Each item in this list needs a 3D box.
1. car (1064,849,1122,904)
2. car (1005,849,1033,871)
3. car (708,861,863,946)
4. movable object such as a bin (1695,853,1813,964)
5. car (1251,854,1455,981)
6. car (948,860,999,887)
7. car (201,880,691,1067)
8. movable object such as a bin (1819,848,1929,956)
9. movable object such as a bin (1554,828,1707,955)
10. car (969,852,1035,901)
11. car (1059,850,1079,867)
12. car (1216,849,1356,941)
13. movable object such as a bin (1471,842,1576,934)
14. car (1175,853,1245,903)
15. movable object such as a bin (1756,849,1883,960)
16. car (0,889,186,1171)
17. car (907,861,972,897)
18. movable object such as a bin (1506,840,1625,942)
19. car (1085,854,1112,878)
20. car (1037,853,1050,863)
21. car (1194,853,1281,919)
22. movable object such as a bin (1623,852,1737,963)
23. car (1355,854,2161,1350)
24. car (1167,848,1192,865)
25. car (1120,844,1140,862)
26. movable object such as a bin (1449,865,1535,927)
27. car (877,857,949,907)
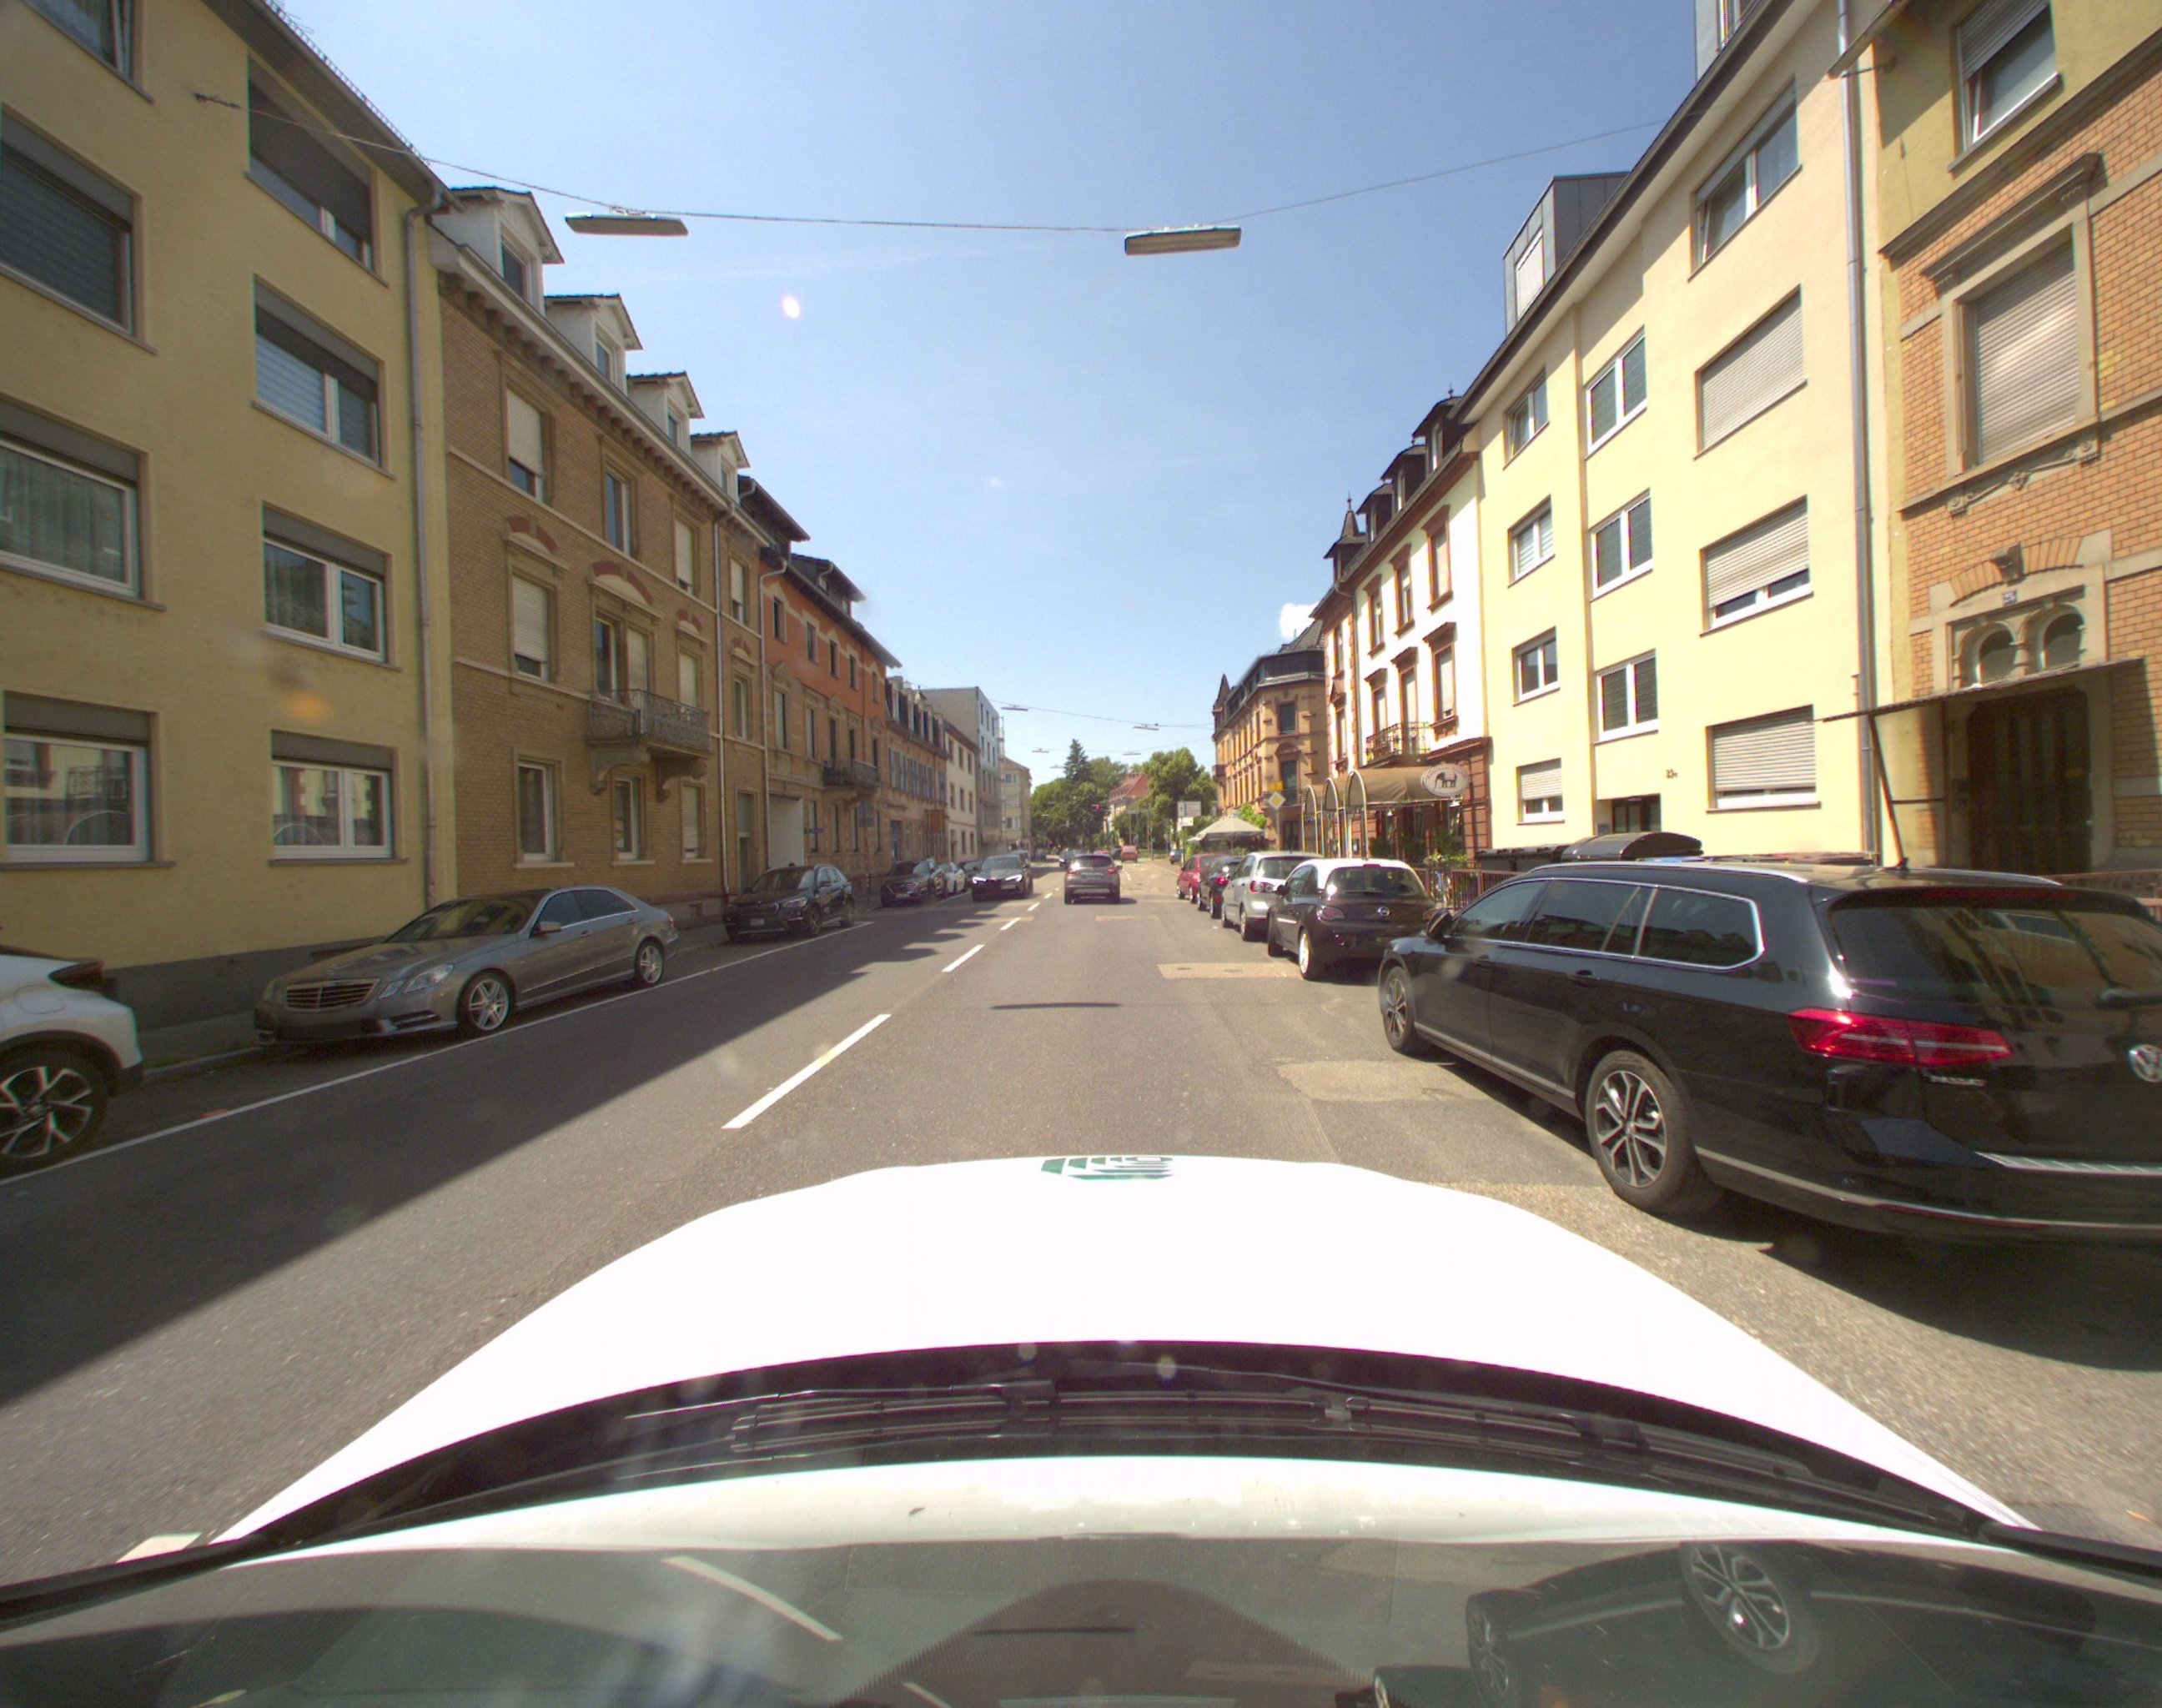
[{"bbox_3d":[0.401,0.675,26.640,1.738,1.616,4.001,-1,0,1],"label":"car"},{"bbox_3d":[-5.333,0.487,70.601,1.897,1.821,4.305,-2,0,2],"label":"car"},{"bbox_3d":[-6.685,1.037,18.977,1.898,1.619,4.302,-4,0,0],"label":"car"},{"bbox_3d":[7.518,0.584,9.134,0.635,1.186,0.853,-1,0,4],"label":"movable object such as a bin"},{"bbox_3d":[3.562,0.737,11.418,1.653,1.441,4.002,0,0,2],"label":"car"},{"bbox_3d":[-5.762,1.004,44.296,1.896,1.291,4.307,-2,0,4],"label":"car"},{"bbox_3d":[-6.786,1.139,9.614,1.898,1.401,4.756,-4,0,1],"label":"car"},{"bbox_3d":[8.933,0.525,9.196,0.635,1.177,0.627,-1,0,4],"label":"movable object such as a bin"},{"bbox_3d":[7.011,0.456,10.499,1.038,1.518,1.448,-1,0,3],"label":"movable object such as a bin"},{"bbox_3d":[-2.903,0.781,30.751,1.932,1.626,4.001,-3,0,1],"label":"car"},{"bbox_3d":[-1.182,0.448,81.809,1.783,1.626,3.745,-2,0,2],"label":"car"},{"bbox_3d":[3.775,0.689,15.698,1.853,1.553,4.002,0,0,2],"label":"car"},{"bbox_3d":[7.092,0.526,13.128,1.038,1.402,1.255,-1,0,3],"label":"movable object such as a bin"},{"bbox_3d":[4.038,0.719,26.037,1.607,1.443,3.435,-1,0,-1],"label":"car"},{"bbox_3d":[8.228,0.540,9.112,0.665,1.177,0.853,-1,0,4],"label":"movable object such as a bin"},{"bbox_3d":[-6.953,1.044,3.240,1.898,1.510,4.303,-4,0,1],"label":"car"},{"bbox_3d":[-6.135,1.047,35.802,1.897,1.357,4.304,-4,0,2],"label":"car"},{"bbox_3d":[7.014,0.516,11.872,1.038,1.402,1.255,-1,0,3],"label":"movable object such as a bin"},{"bbox_3d":[1.267,0.862,60.549,1.807,1.620,4.440,-3,0,-1],"label":"car"},{"bbox_3d":[-6.066,0.666,131.630,1.783,1.626,3.746,-2,0,3],"label":"car"},{"bbox_3d":[3.809,0.731,20.329,1.605,1.461,3.507,-1,0,2],"label":"car"},{"bbox_3d":[6.712,0.572,9.173,0.635,1.177,0.912,-1,0,4],"label":"movable object such as a bin"},{"bbox_3d":[3.259,0.736,4.730,1.854,1.465,4.618,0,0,1],"label":"car"},{"bbox_3d":[9.738,0.201,80.429,1.884,1.508,3.959,-3,0,15],"label":"car"},{"bbox_3d":[5.675,-0.119,93.404,1.983,2.013,4.475,-2,0,7],"label":"car"},{"bbox_3d":[7.169,0.724,14.260,1.038,1.023,0.992,-1,0,3],"label":"movable object such as a bin"},{"bbox_3d":[-6.198,0.990,30.507,1.900,1.619,4.298,-4,0,-3],"label":"car"}]
